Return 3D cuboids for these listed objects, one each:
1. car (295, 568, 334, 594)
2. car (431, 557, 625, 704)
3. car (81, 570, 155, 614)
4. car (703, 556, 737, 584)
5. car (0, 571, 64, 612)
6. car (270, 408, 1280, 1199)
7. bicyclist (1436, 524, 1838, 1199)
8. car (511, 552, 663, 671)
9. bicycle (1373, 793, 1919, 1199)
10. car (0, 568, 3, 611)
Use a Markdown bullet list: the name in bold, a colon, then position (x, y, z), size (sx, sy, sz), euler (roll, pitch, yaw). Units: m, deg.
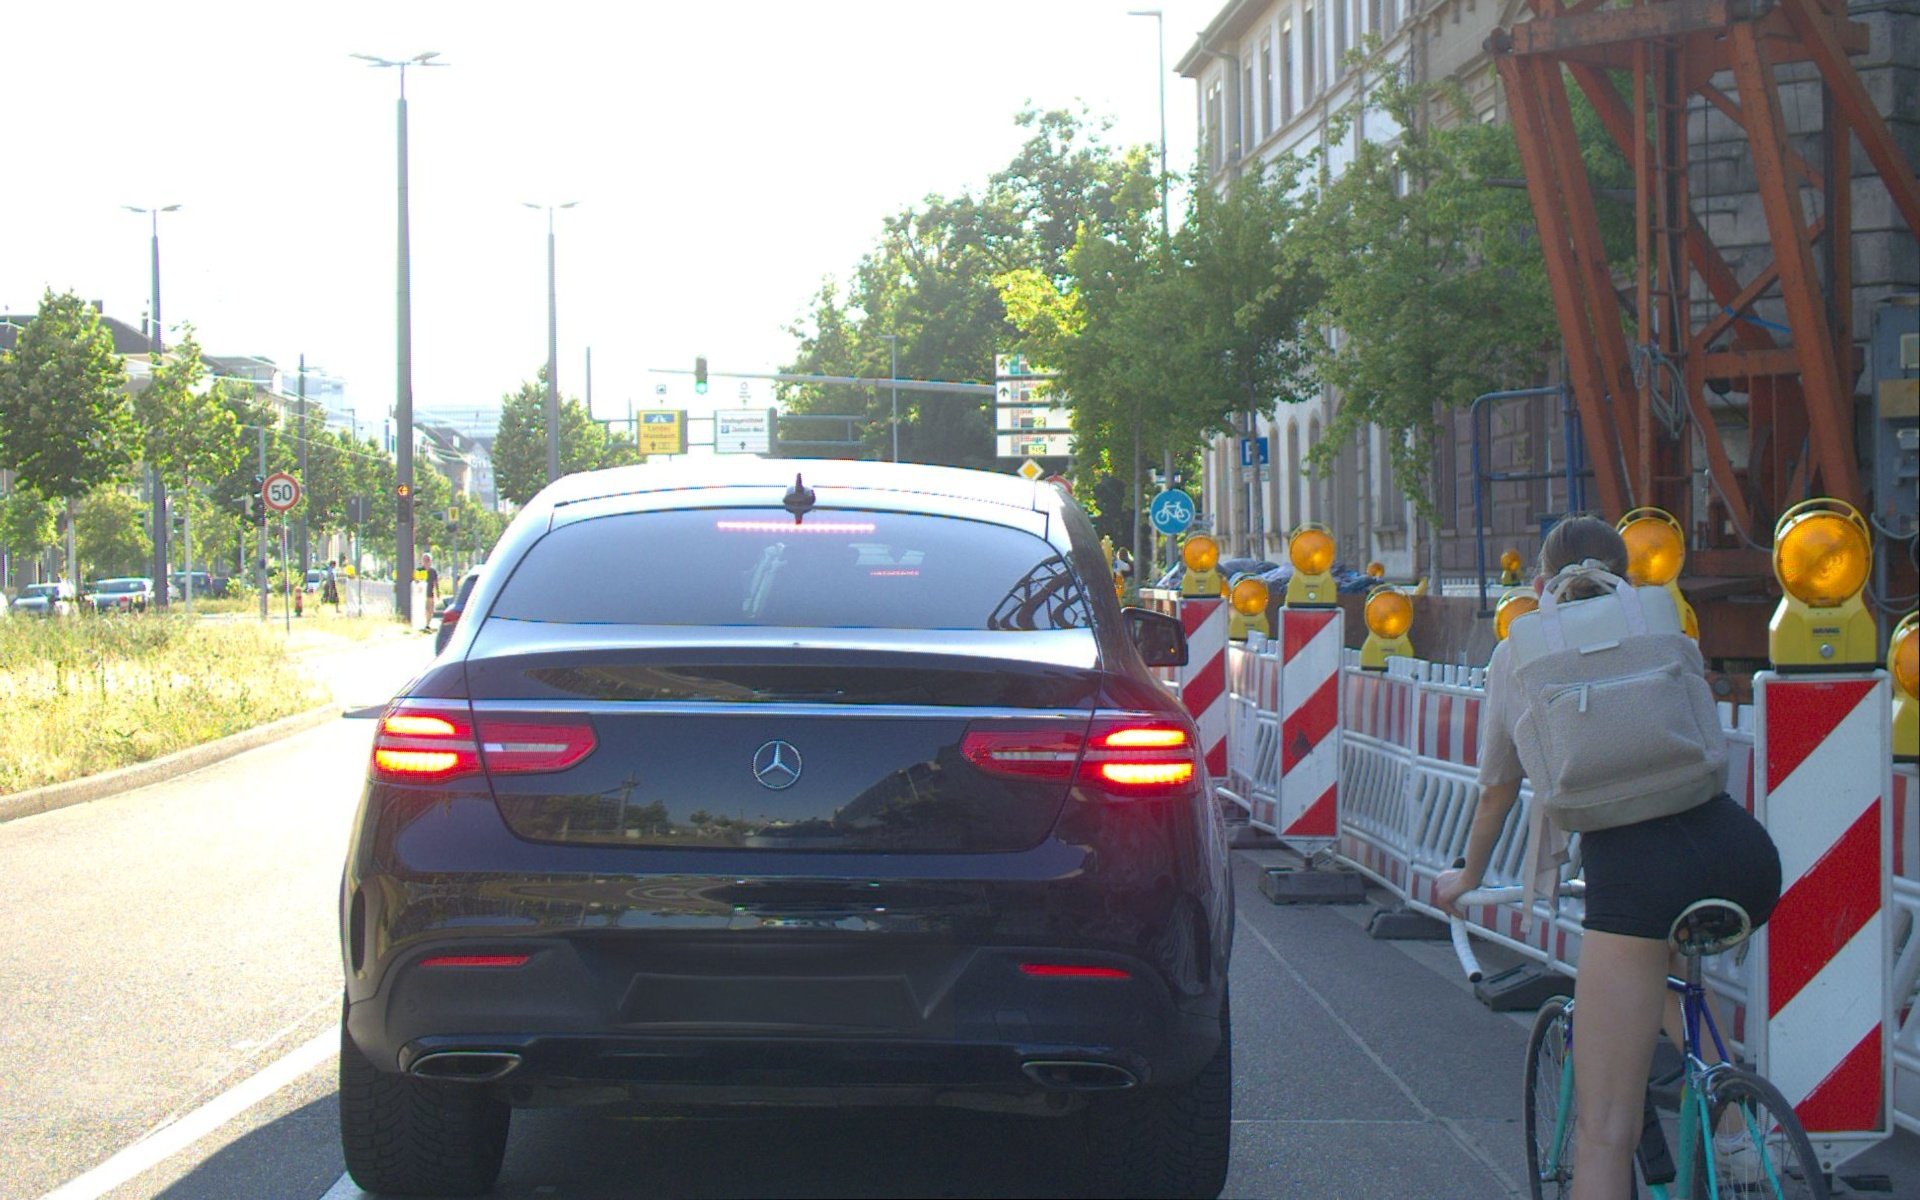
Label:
- **car**: position (-36.613, -1.073, 195.014), size (1.708, 1.437, 3.583), euler (1, 1, -3)
- **car**: position (-4.453, 0.287, 35.837), size (1.708, 1.437, 3.583), euler (1, 1, -3)
- **car**: position (-28.094, -0.276, 114.783), size (1.708, 1.437, 3.583), euler (1, 1, -3)
- **car**: position (-12.849, -1.613, 183.917), size (1.708, 1.437, 3.583), euler (1, 1, -3)
- **car**: position (-33.943, -0.332, 125.472), size (1.708, 1.437, 3.583), euler (1, 1, -3)
- **car**: position (-0.392, 0.493, 8.858), size (1.993, 1.766, 4.000), euler (1, 1, -1)
- **bicyclist**: position (1.145, 0.571, 5.907), size (0.522, 1.391, 0.615), euler (1, 0, -3)
- **car**: position (-4.735, 0.125, 43.997), size (1.708, 1.437, 3.583), euler (1, 1, -3)
- **bicycle**: position (1.136, 0.922, 6.032), size (0.512, 1.048, 1.725), euler (1, 1, -3)
- **car**: position (-33.440, -0.356, 115.460), size (1.708, 1.437, 3.583), euler (1, 1, -3)
